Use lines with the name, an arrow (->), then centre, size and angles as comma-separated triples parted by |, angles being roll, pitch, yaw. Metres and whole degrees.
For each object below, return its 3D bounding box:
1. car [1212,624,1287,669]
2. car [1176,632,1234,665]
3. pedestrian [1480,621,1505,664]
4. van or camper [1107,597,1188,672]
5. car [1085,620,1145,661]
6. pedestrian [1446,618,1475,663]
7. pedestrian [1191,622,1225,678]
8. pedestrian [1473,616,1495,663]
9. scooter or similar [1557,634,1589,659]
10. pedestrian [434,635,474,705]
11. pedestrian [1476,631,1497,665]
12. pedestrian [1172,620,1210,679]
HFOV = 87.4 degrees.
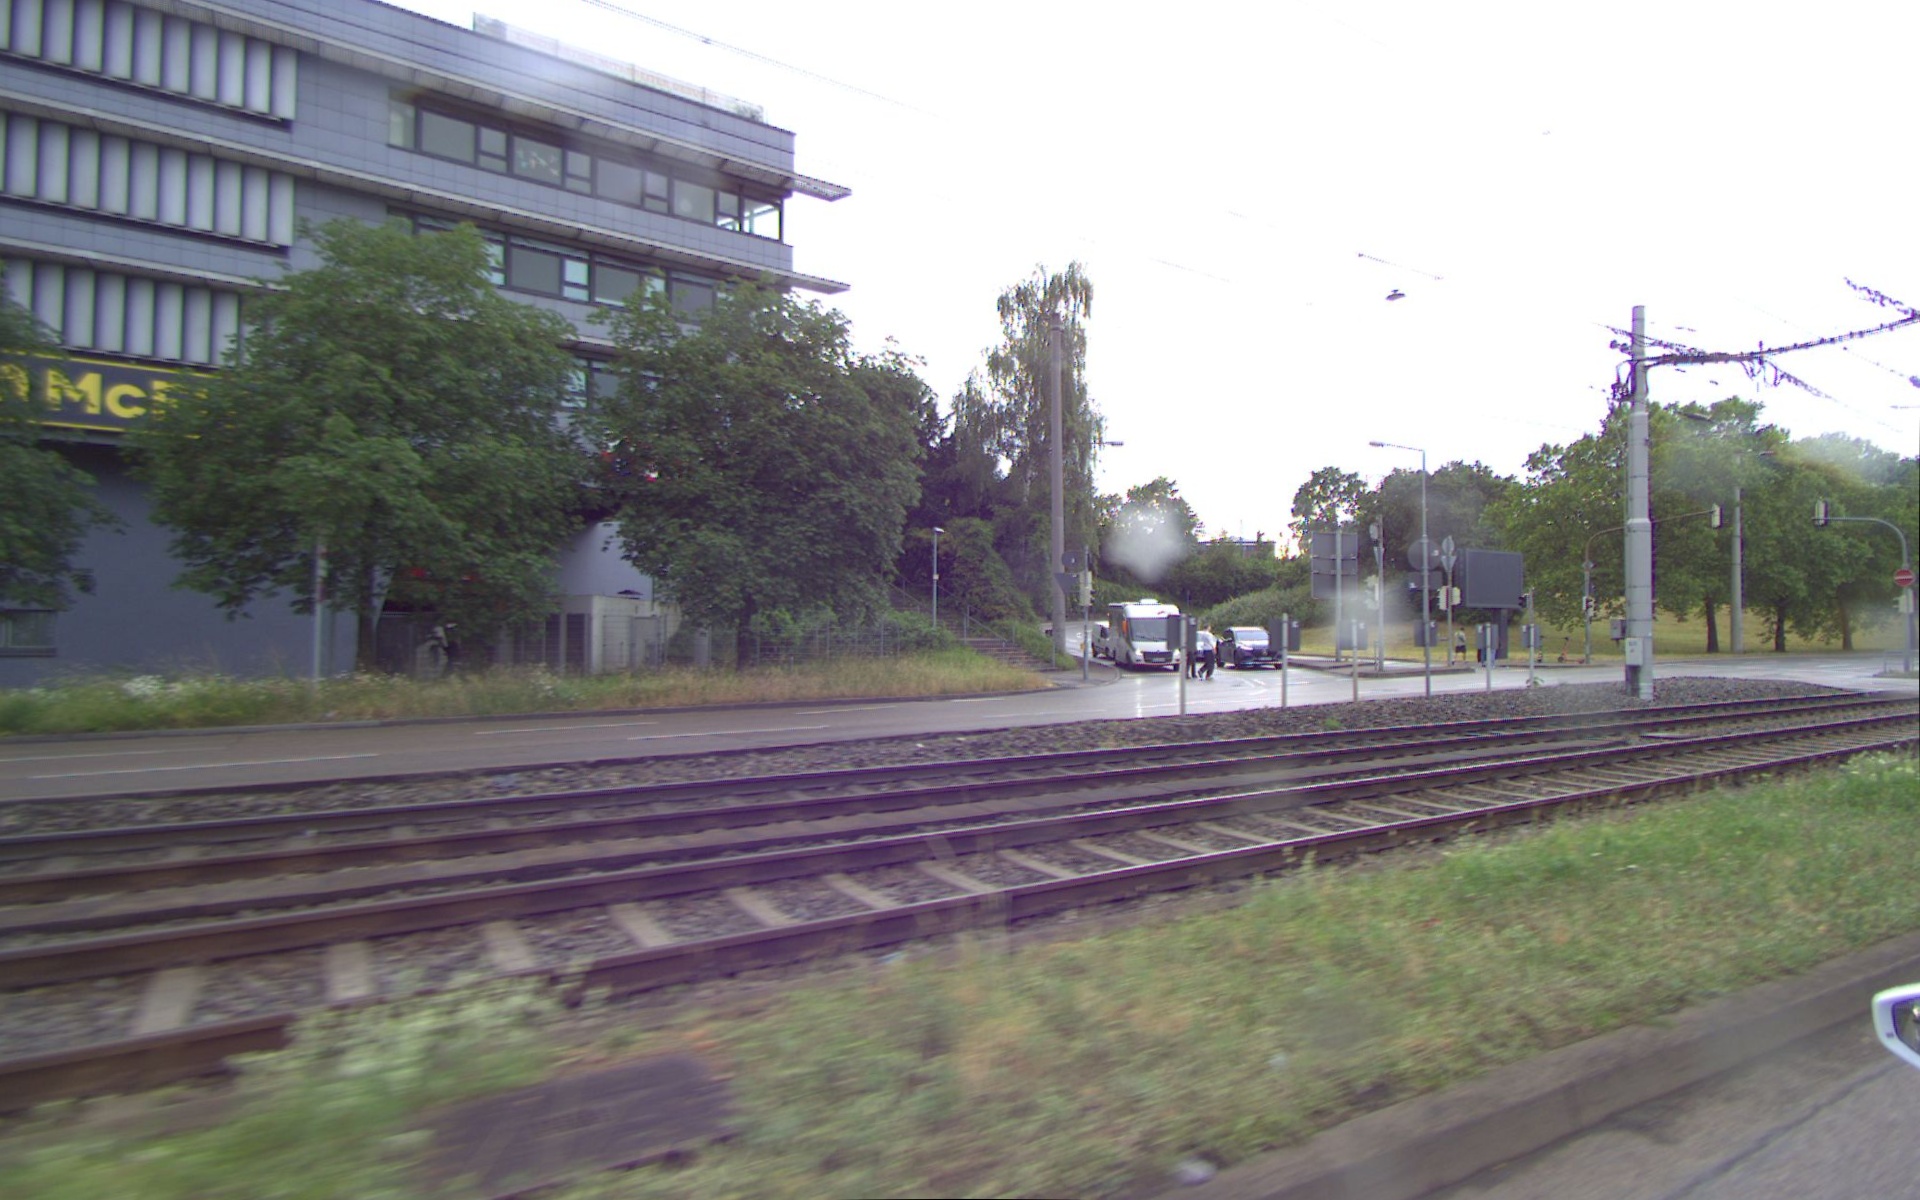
car -> 12.302, 1.941, 43.018 | 1.960, 1.755, 4.632 | 0, -1, 1
car -> 12.286, 2.414, 50.610 | 1.804, 1.586, 3.999 | 0, -1, -3
pedestrian -> 22.747, 1.817, 42.910 | 0.821, 1.811, 0.504 | 1, 1, -28
van or camper -> 8.086, 1.472, 44.184 | 2.441, 3.006, 7.377 | 0, -1, 2
car -> 8.068, 2.078, 52.657 | 1.963, 2.040, 4.521 | 0, -1, -6
pedestrian -> 22.657, 1.824, 45.440 | 0.858, 2.040, 0.880 | 1, -2, -37
pedestrian -> 8.541, 1.708, 34.615 | 0.940, 1.892, 0.632 | 1, -2, -24
pedestrian -> 22.660, 1.710, 43.432 | 0.713, 1.982, 0.493 | 1, 1, -29
scooter or similar -> 29.387, 2.233, 48.155 | 1.254, 1.177, 0.380 | -1, -1, 13
pedestrian -> -13.272, 1.820, 26.323 | 0.867, 1.779, 0.721 | 1, 1, -30
pedestrian -> 23.683, 2.163, 45.189 | 0.713, 1.493, 0.493 | 1, 1, -31
pedestrian -> 8.101, 1.735, 35.243 | 0.932, 2.040, 0.884 | 1, -2, -24
